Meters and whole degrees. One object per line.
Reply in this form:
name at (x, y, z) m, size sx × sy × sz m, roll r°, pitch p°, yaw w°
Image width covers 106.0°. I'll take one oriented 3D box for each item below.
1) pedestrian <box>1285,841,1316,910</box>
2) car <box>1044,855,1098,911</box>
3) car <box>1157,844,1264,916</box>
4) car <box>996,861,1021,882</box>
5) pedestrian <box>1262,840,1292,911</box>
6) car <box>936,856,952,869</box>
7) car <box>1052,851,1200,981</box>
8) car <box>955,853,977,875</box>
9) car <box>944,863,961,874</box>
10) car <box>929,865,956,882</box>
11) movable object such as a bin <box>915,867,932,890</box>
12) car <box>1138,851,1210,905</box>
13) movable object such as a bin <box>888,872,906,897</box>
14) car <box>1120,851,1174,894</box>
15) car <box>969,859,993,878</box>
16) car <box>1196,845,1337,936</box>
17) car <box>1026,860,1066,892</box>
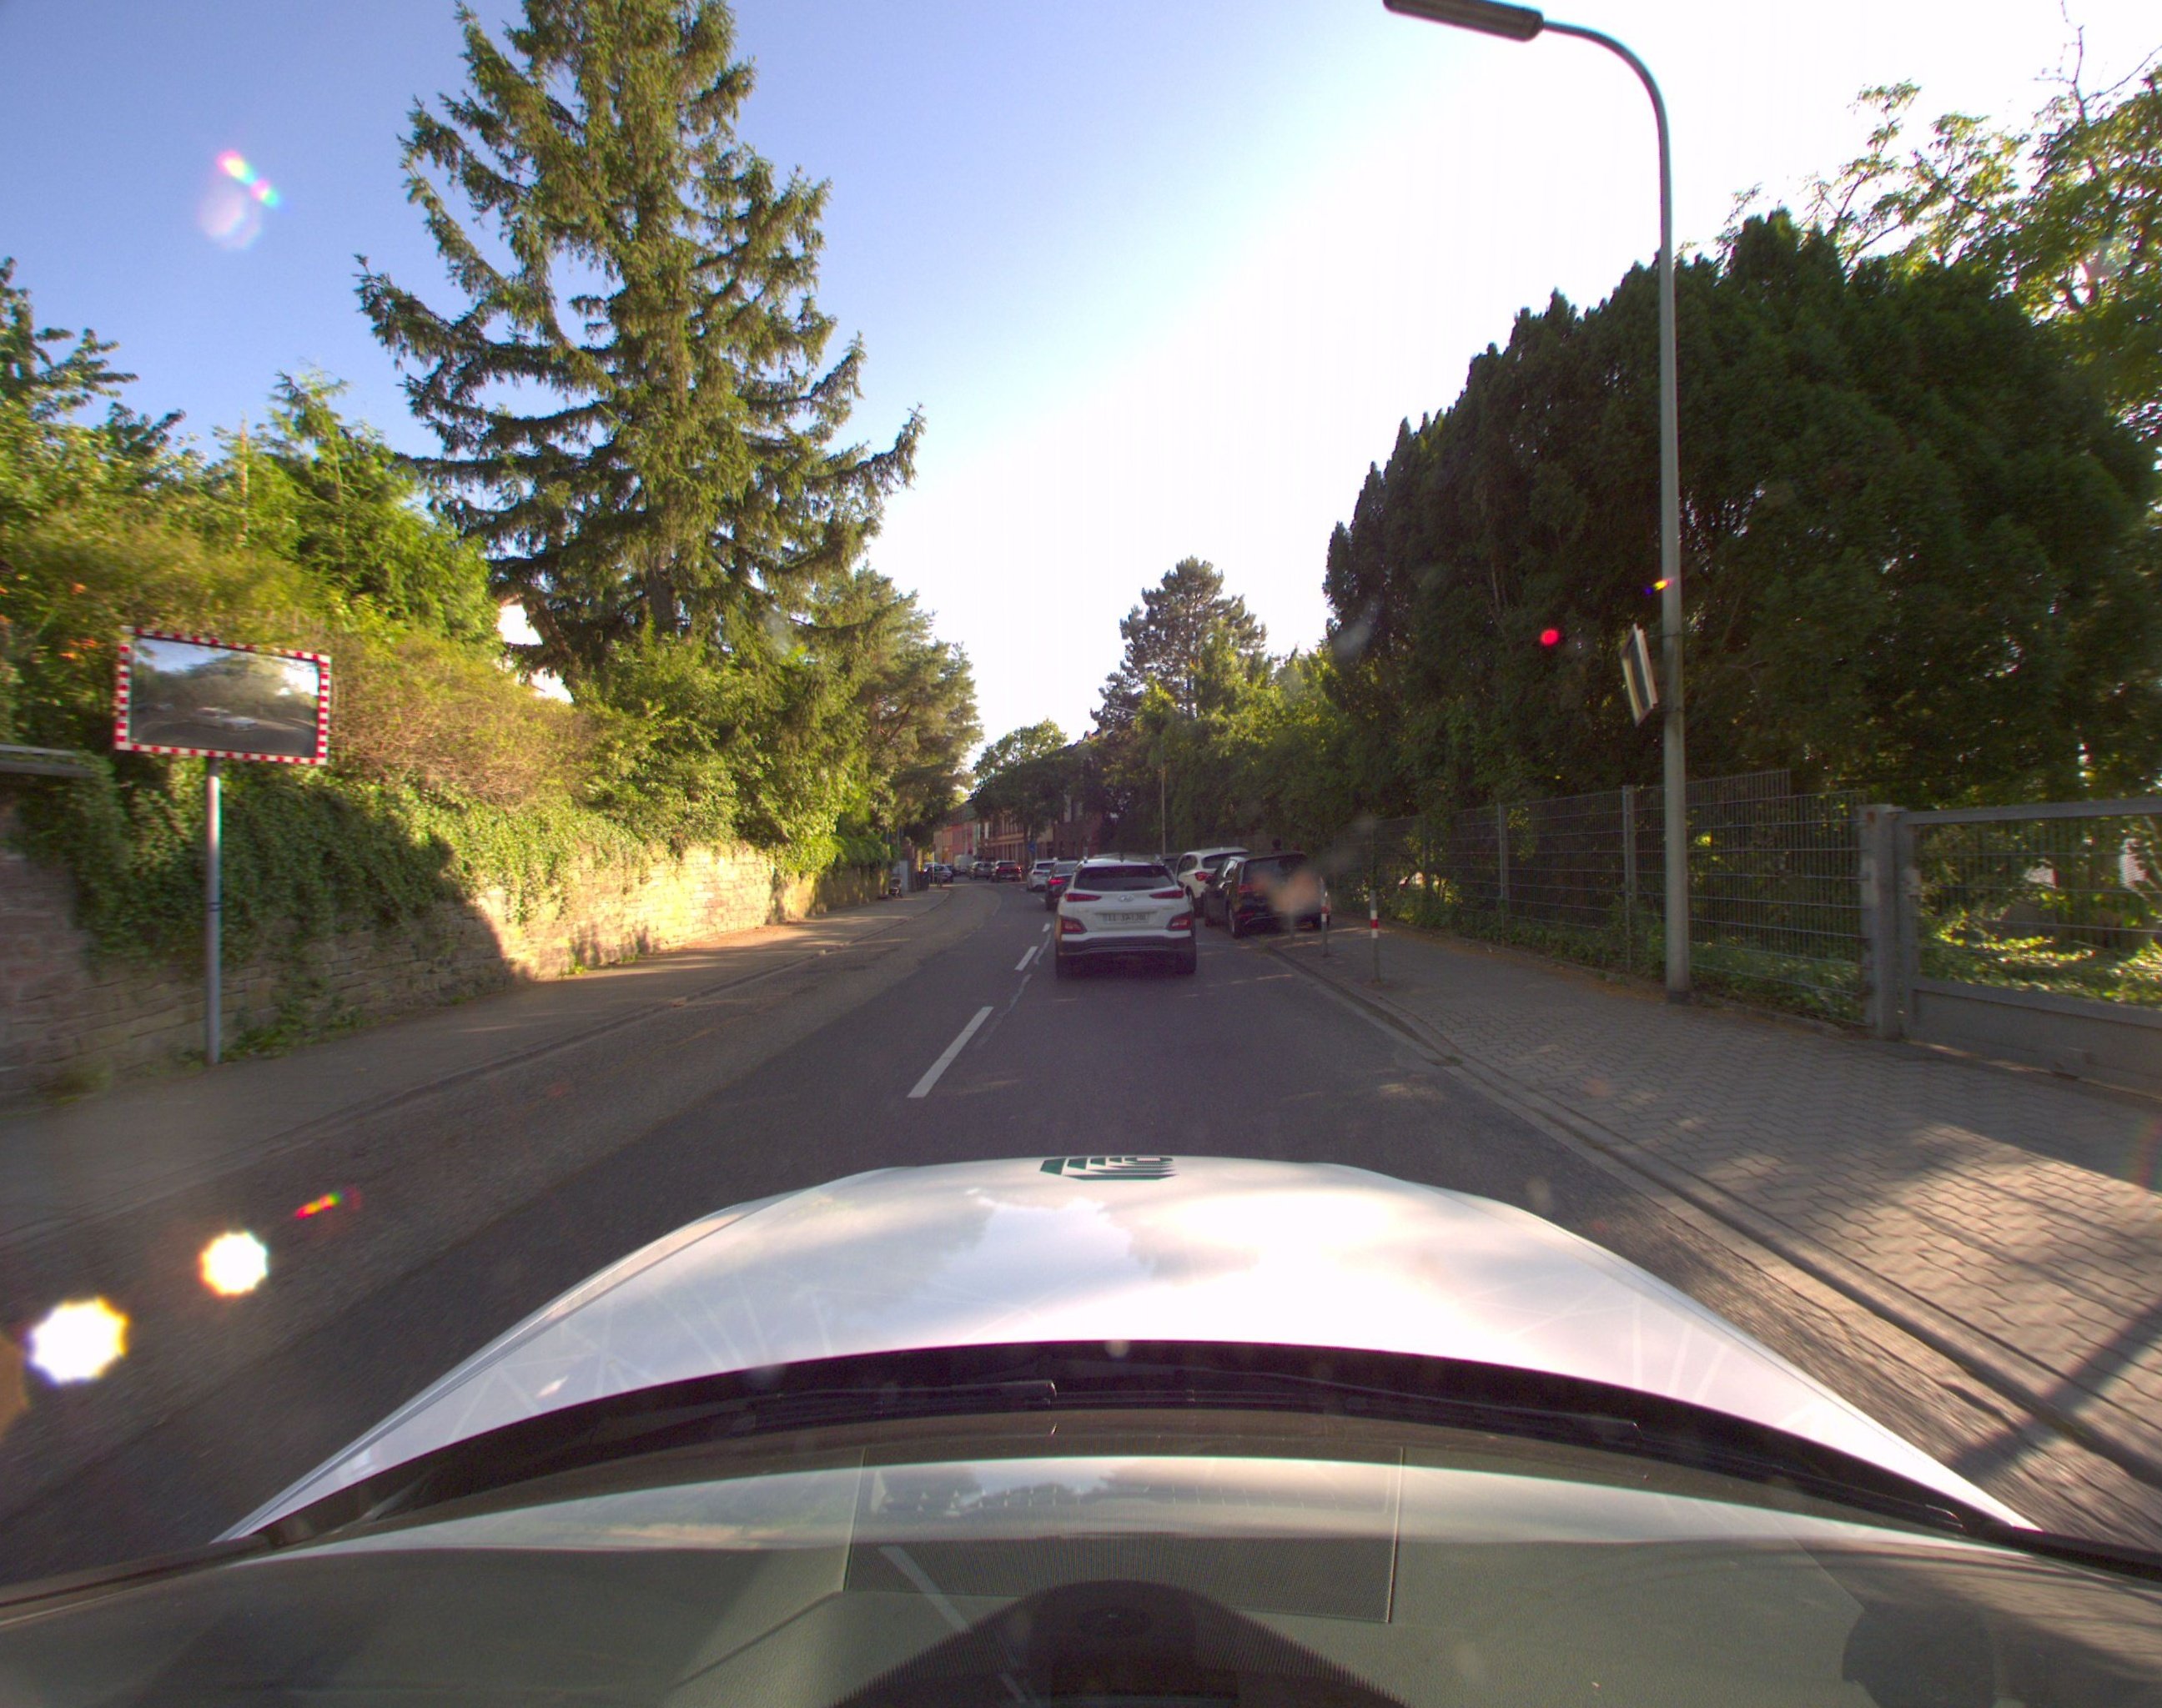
pedestrian at (5.134, 0.489, 19.041) m, size 0.501 × 1.569 × 0.504 m, roll -4°, pitch -1°, yaw 2°
car at (-0.291, 0.838, 25.031) m, size 1.507 × 1.533 × 3.547 m, roll -2°, pitch 0°, yaw 0°
car at (3.190, 0.633, 20.849) m, size 1.592 × 1.565 × 3.990 m, roll -4°, pitch -1°, yaw -7°
car at (-5.357, 1.291, 59.987) m, size 1.593 × 1.461 × 3.088 m, roll -2°, pitch 0°, yaw -10°
pedestrian at (4.599, 0.494, 19.120) m, size 0.501 × 1.606 × 0.491 m, roll -4°, pitch -1°, yaw 2°
car at (-20.943, 1.290, 124.521) m, size 1.723 × 1.936 × 3.974 m, roll -2°, pitch 0°, yaw -19°
car at (0.641, 0.762, 11.886) m, size 1.765 × 1.542 × 4.003 m, roll -2°, pitch 0°, yaw 3°
car at (-14.124, 1.245, 100.079) m, size 1.934 × 2.583 × 4.368 m, roll -2°, pitch 0°, yaw -17°
car at (-14.923, 1.695, 94.304) m, size 1.530 × 1.260 × 3.341 m, roll -2°, pitch 0°, yaw -17°
car at (-11.011, 1.538, 64.563) m, size 1.597 × 1.317 × 3.790 m, roll -1°, pitch -1°, yaw -17°
movable object such as a bin at (-8.434, 1.304, 43.612) m, size 0.789 × 1.189 × 0.773 m, roll 0°, pitch -1°, yaw 0°
car at (2.921, 0.738, 26.341) m, size 1.590 × 1.519 × 3.928 m, roll -4°, pitch -1°, yaw -3°
movable object such as a bin at (-7.569, 1.242, 33.544) m, size 0.493 × 1.011 × 1.113 m, roll 0°, pitch -1°, yaw 1°
car at (2.529, 0.698, 32.157) m, size 1.590 × 1.489 × 3.598 m, roll -4°, pitch 0°, yaw -3°
car at (-8.901, 1.264, 72.327) m, size 1.592 × 1.582 × 3.344 m, roll -2°, pitch 0°, yaw -15°
car at (3.426, 0.628, 15.777) m, size 1.681 × 1.431 × 3.998 m, roll -4°, pitch 0°, yaw -1°
car at (-1.783, 1.045, 40.421) m, size 1.570 × 1.477 × 3.536 m, roll -1°, pitch 0°, yaw -9°
